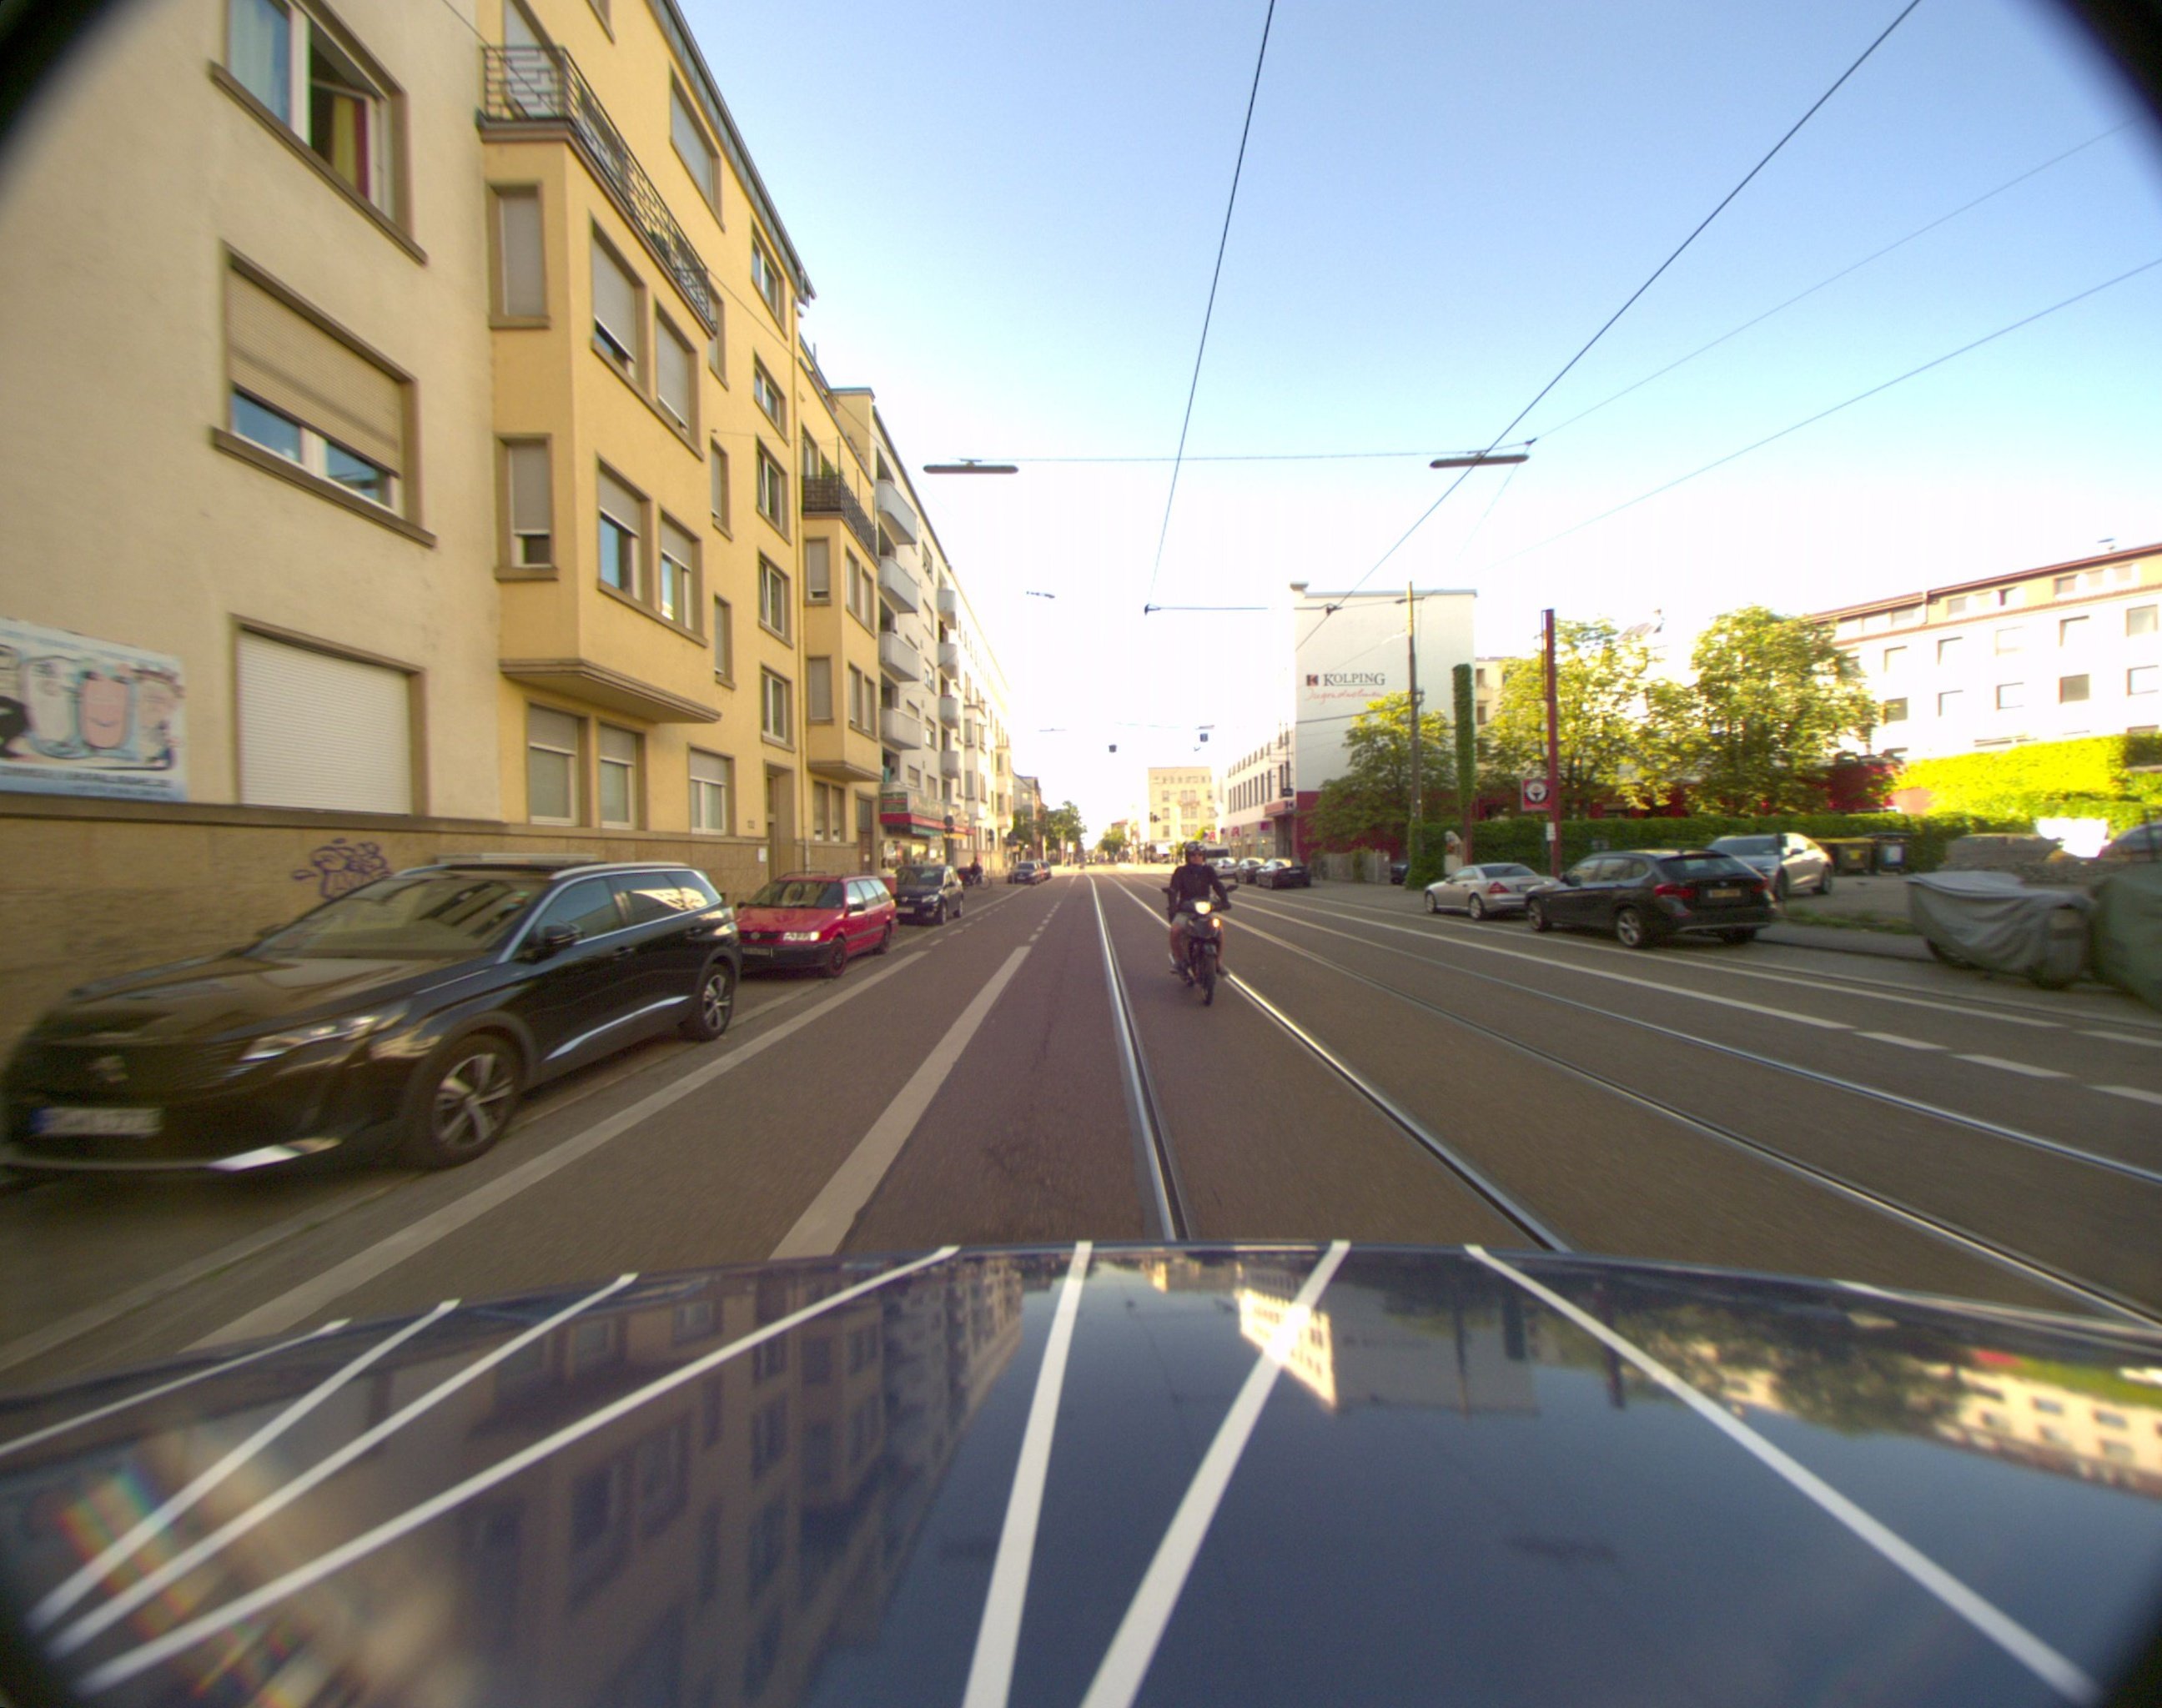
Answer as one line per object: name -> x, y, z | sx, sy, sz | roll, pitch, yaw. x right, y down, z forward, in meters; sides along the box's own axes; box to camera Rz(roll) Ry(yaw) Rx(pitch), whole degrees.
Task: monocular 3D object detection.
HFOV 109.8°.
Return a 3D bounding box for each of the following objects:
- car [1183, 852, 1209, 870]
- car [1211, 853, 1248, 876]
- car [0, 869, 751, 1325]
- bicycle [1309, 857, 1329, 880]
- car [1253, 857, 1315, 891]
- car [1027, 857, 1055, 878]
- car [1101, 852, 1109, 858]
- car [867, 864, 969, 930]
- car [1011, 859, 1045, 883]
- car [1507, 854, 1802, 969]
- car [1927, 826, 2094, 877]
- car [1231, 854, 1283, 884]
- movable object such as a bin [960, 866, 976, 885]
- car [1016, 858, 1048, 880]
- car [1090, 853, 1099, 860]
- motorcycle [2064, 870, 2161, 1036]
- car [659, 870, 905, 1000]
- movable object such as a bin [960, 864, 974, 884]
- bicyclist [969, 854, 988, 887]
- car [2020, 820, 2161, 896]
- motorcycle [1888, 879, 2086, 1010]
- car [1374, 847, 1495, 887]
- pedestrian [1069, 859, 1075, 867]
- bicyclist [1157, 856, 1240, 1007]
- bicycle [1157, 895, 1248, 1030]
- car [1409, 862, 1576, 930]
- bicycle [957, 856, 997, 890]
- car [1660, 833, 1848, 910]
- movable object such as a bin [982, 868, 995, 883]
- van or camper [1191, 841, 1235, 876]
car -> 10.438, 0.622, 69.033 | 1.787, 1.543, 3.992 | -3, 0, 2
car -> 10.142, 0.663, 52.207 | 1.787, 1.390, 4.445 | -3, 0, 2
car -> -4.238, 1.007, 5.245 | 1.864, 1.656, 4.561 | -1, 0, 0
bicycle -> 12.849, 0.762, 41.033 | 0.440, 1.168, 2.050 | -2, 1, 2
car -> 9.901, 0.925, 37.388 | 1.787, 1.437, 4.841 | -3, 0, 1
car -> -3.104, 1.048, 59.617 | 1.861, 1.498, 4.096 | 1, 0, 2
car -> 6.797, 0.355, 215.886 | 1.970, 1.577, 4.000 | -2, 0, 3
car -> -4.115, 1.039, 19.840 | 1.722, 1.482, 4.002 | 0, 0, 1
car -> -3.403, 1.035, 49.095 | 1.714, 1.399, 4.358 | 1, 0, 2
car -> 9.569, 0.834, 13.287 | 1.787, 1.556, 4.611 | -3, 0, 3
car -> 31.213, -0.084, 25.570 | 4.000, 1.545, 1.801 | -2, 0, -9
car -> 9.906, 0.794, 43.083 | 1.788, 1.472, 4.699 | -3, 0, 0
movable object such as a bin -> -6.370, 1.201, 42.993 | 0.772, 1.066, 0.618 | -2, 1, 0
car -> -3.448, 1.062, 54.414 | 1.861, 1.464, 3.989 | 1, 0, 2
car -> 3.271, 0.534, 182.106 | 1.970, 1.577, 4.000 | -2, 0, 1
motorcycle -> 9.789, 0.849, 6.626 | 0.884, 1.343, 1.961 | -2, 1, 33
car -> -4.229, 1.045, 11.712 | 1.864, 1.447, 4.709 | -1, 0, 0
movable object such as a bin -> -6.545, 1.143, 43.637 | 0.677, 1.066, 0.569 | -2, 1, 0
bicyclist -> -5.396, 0.854, 40.097 | 0.844, 1.692, 0.510 | -2, 1, 4
car -> 25.451, 0.061, 17.881 | 1.801, 1.739, 4.000 | -2, 0, 1
motorcycle -> 9.970, 0.919, 8.483 | 0.740, 1.164, 2.184 | -2, 0, 31
car -> 15.459, 0.545, 33.430 | 4.372, 1.588, 2.000 | -2, 0, 2
pedestrian -> -1.370, 1.416, 117.000 | 0.774, 1.197, 0.610 | -1, 1, -8
bicyclist -> 1.250, 0.797, 8.262 | 0.774, 1.531, 0.939 | -1, 1, 3
bicycle -> 1.262, 1.094, 8.206 | 0.767, 1.191, 1.752 | -1, 0, 3
car -> 9.844, 0.938, 18.595 | 1.787, 1.306, 4.221 | -3, 0, 1
bicycle -> -5.475, 1.007, 40.041 | 1.935, 1.700, 0.775 | -2, 1, 4
car -> 15.719, 0.332, 17.676 | 4.804, 1.509, 1.995 | -2, 0, -32
movable object such as a bin -> -5.662, 1.320, 46.505 | 0.657, 0.911, 0.569 | -2, 1, 0
van or camper -> 10.195, 0.310, 59.163 | 2.177, 2.453, 6.231 | -3, 0, 0
